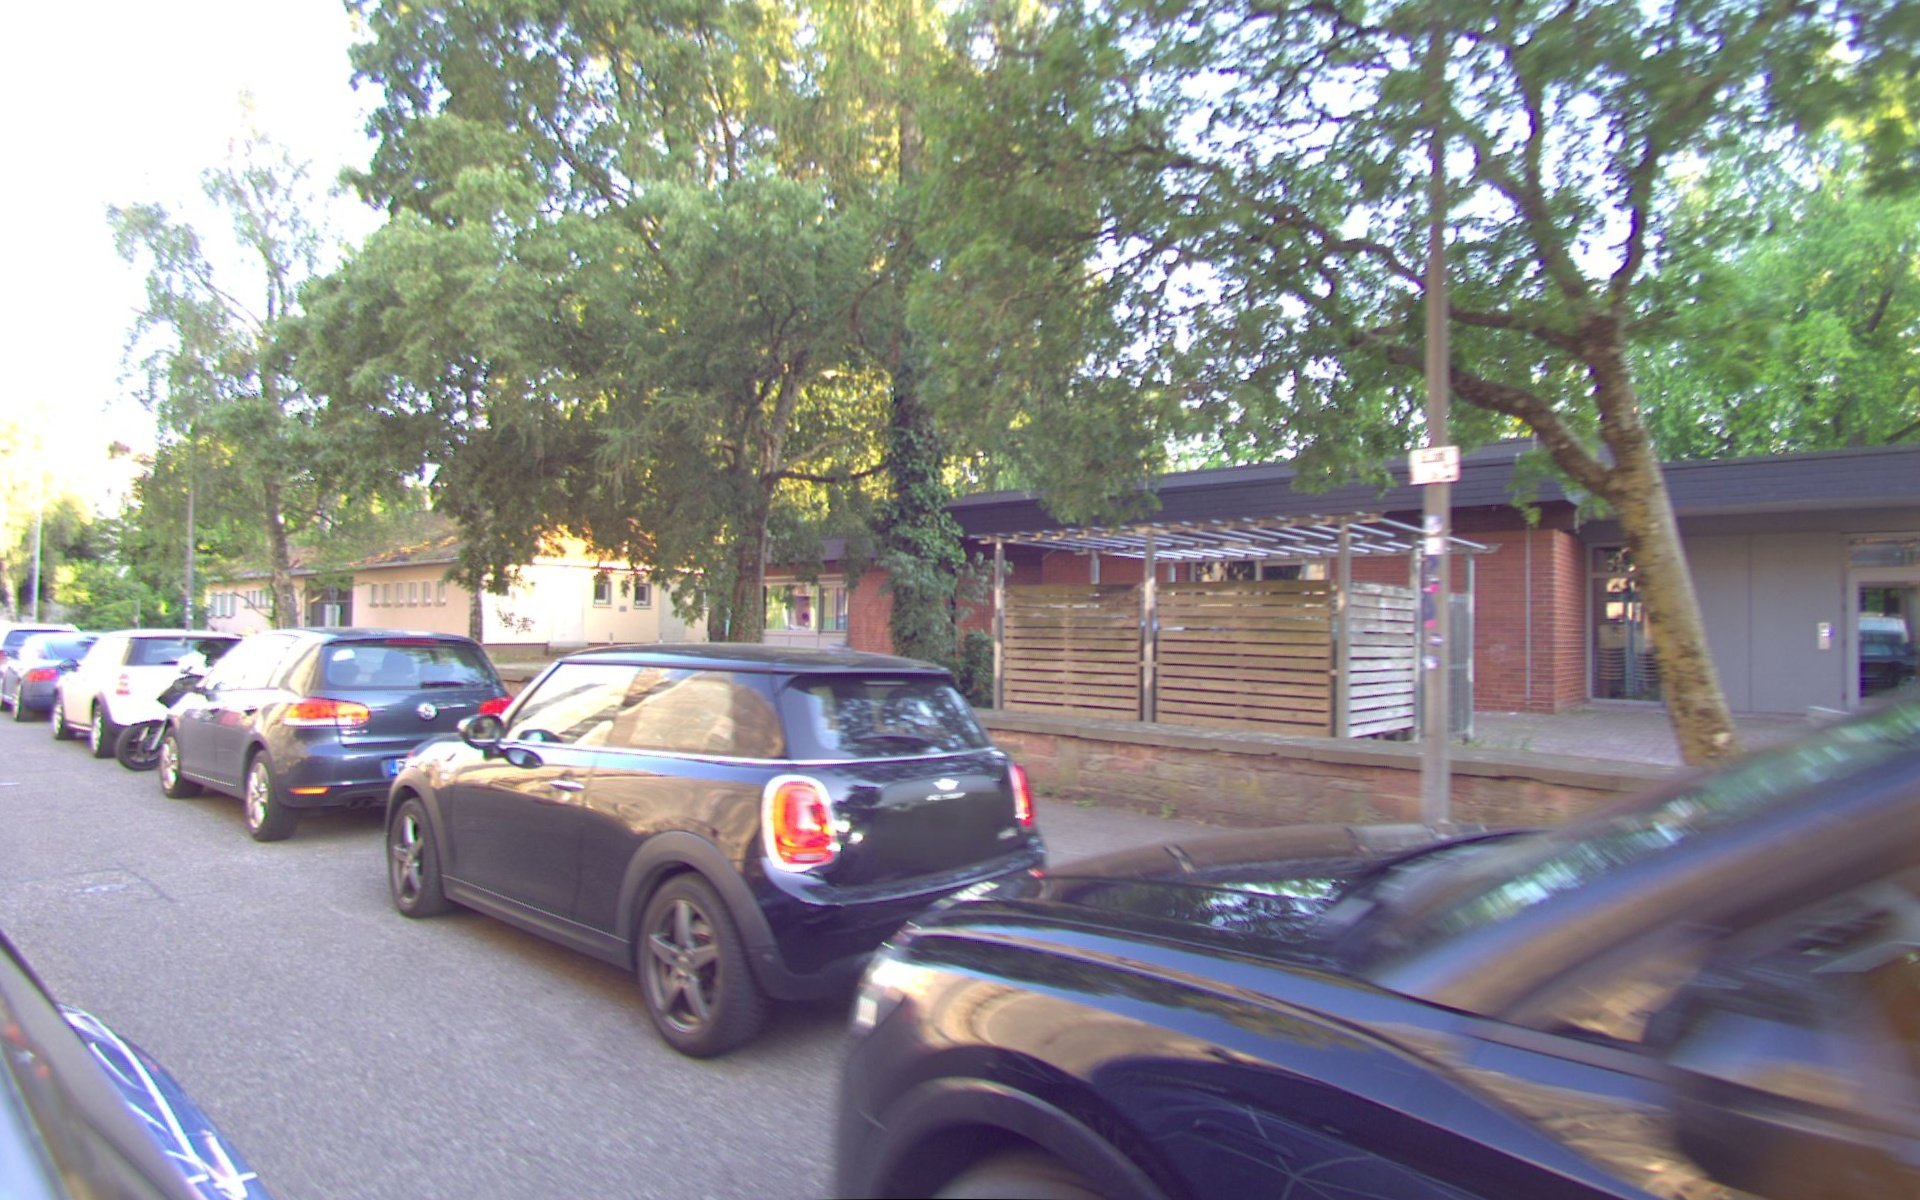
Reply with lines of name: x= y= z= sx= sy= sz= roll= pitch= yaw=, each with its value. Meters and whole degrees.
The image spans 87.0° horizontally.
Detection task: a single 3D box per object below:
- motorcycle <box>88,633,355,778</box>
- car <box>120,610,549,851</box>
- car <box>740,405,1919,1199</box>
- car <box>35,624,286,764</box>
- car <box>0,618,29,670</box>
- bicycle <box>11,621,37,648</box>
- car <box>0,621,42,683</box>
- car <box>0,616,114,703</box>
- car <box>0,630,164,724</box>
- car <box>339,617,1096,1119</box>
motorcycle: x=-7.527 y=1.020 z=10.450 sx=2.135 sy=1.313 sz=0.882 roll=1 pitch=-1 yaw=-35
car: x=-5.351 y=0.887 z=8.416 sx=4.357 sy=1.507 sz=1.698 roll=-1 pitch=-4 yaw=40
car: x=1.790 y=0.680 z=0.698 sx=1.782 sy=1.581 sz=4.571 roll=3 pitch=-3 yaw=-42
car: x=-9.877 y=1.068 z=12.411 sx=3.800 sy=1.442 sz=1.585 roll=-1 pitch=-5 yaw=40
car: x=-28.810 y=1.255 z=29.400 sx=3.994 sy=1.464 sz=1.974 roll=-1 pitch=-2 yaw=38
bicycle: x=-39.700 y=1.464 z=42.919 sx=1.953 sy=1.126 sz=0.538 roll=-1 pitch=-1 yaw=40
car: x=-24.672 y=1.240 z=25.400 sx=4.745 sy=1.457 sz=1.764 roll=-1 pitch=-5 yaw=41
car: x=-18.426 y=1.114 z=19.968 sx=4.755 sy=1.549 sz=1.841 roll=-1 pitch=-3 yaw=41
car: x=-14.433 y=1.176 z=16.412 sx=4.153 sy=1.323 sz=1.641 roll=-1 pitch=-4 yaw=42
car: x=-1.455 y=0.863 z=4.982 sx=3.991 sy=1.489 sz=1.619 roll=-1 pitch=-4 yaw=42
